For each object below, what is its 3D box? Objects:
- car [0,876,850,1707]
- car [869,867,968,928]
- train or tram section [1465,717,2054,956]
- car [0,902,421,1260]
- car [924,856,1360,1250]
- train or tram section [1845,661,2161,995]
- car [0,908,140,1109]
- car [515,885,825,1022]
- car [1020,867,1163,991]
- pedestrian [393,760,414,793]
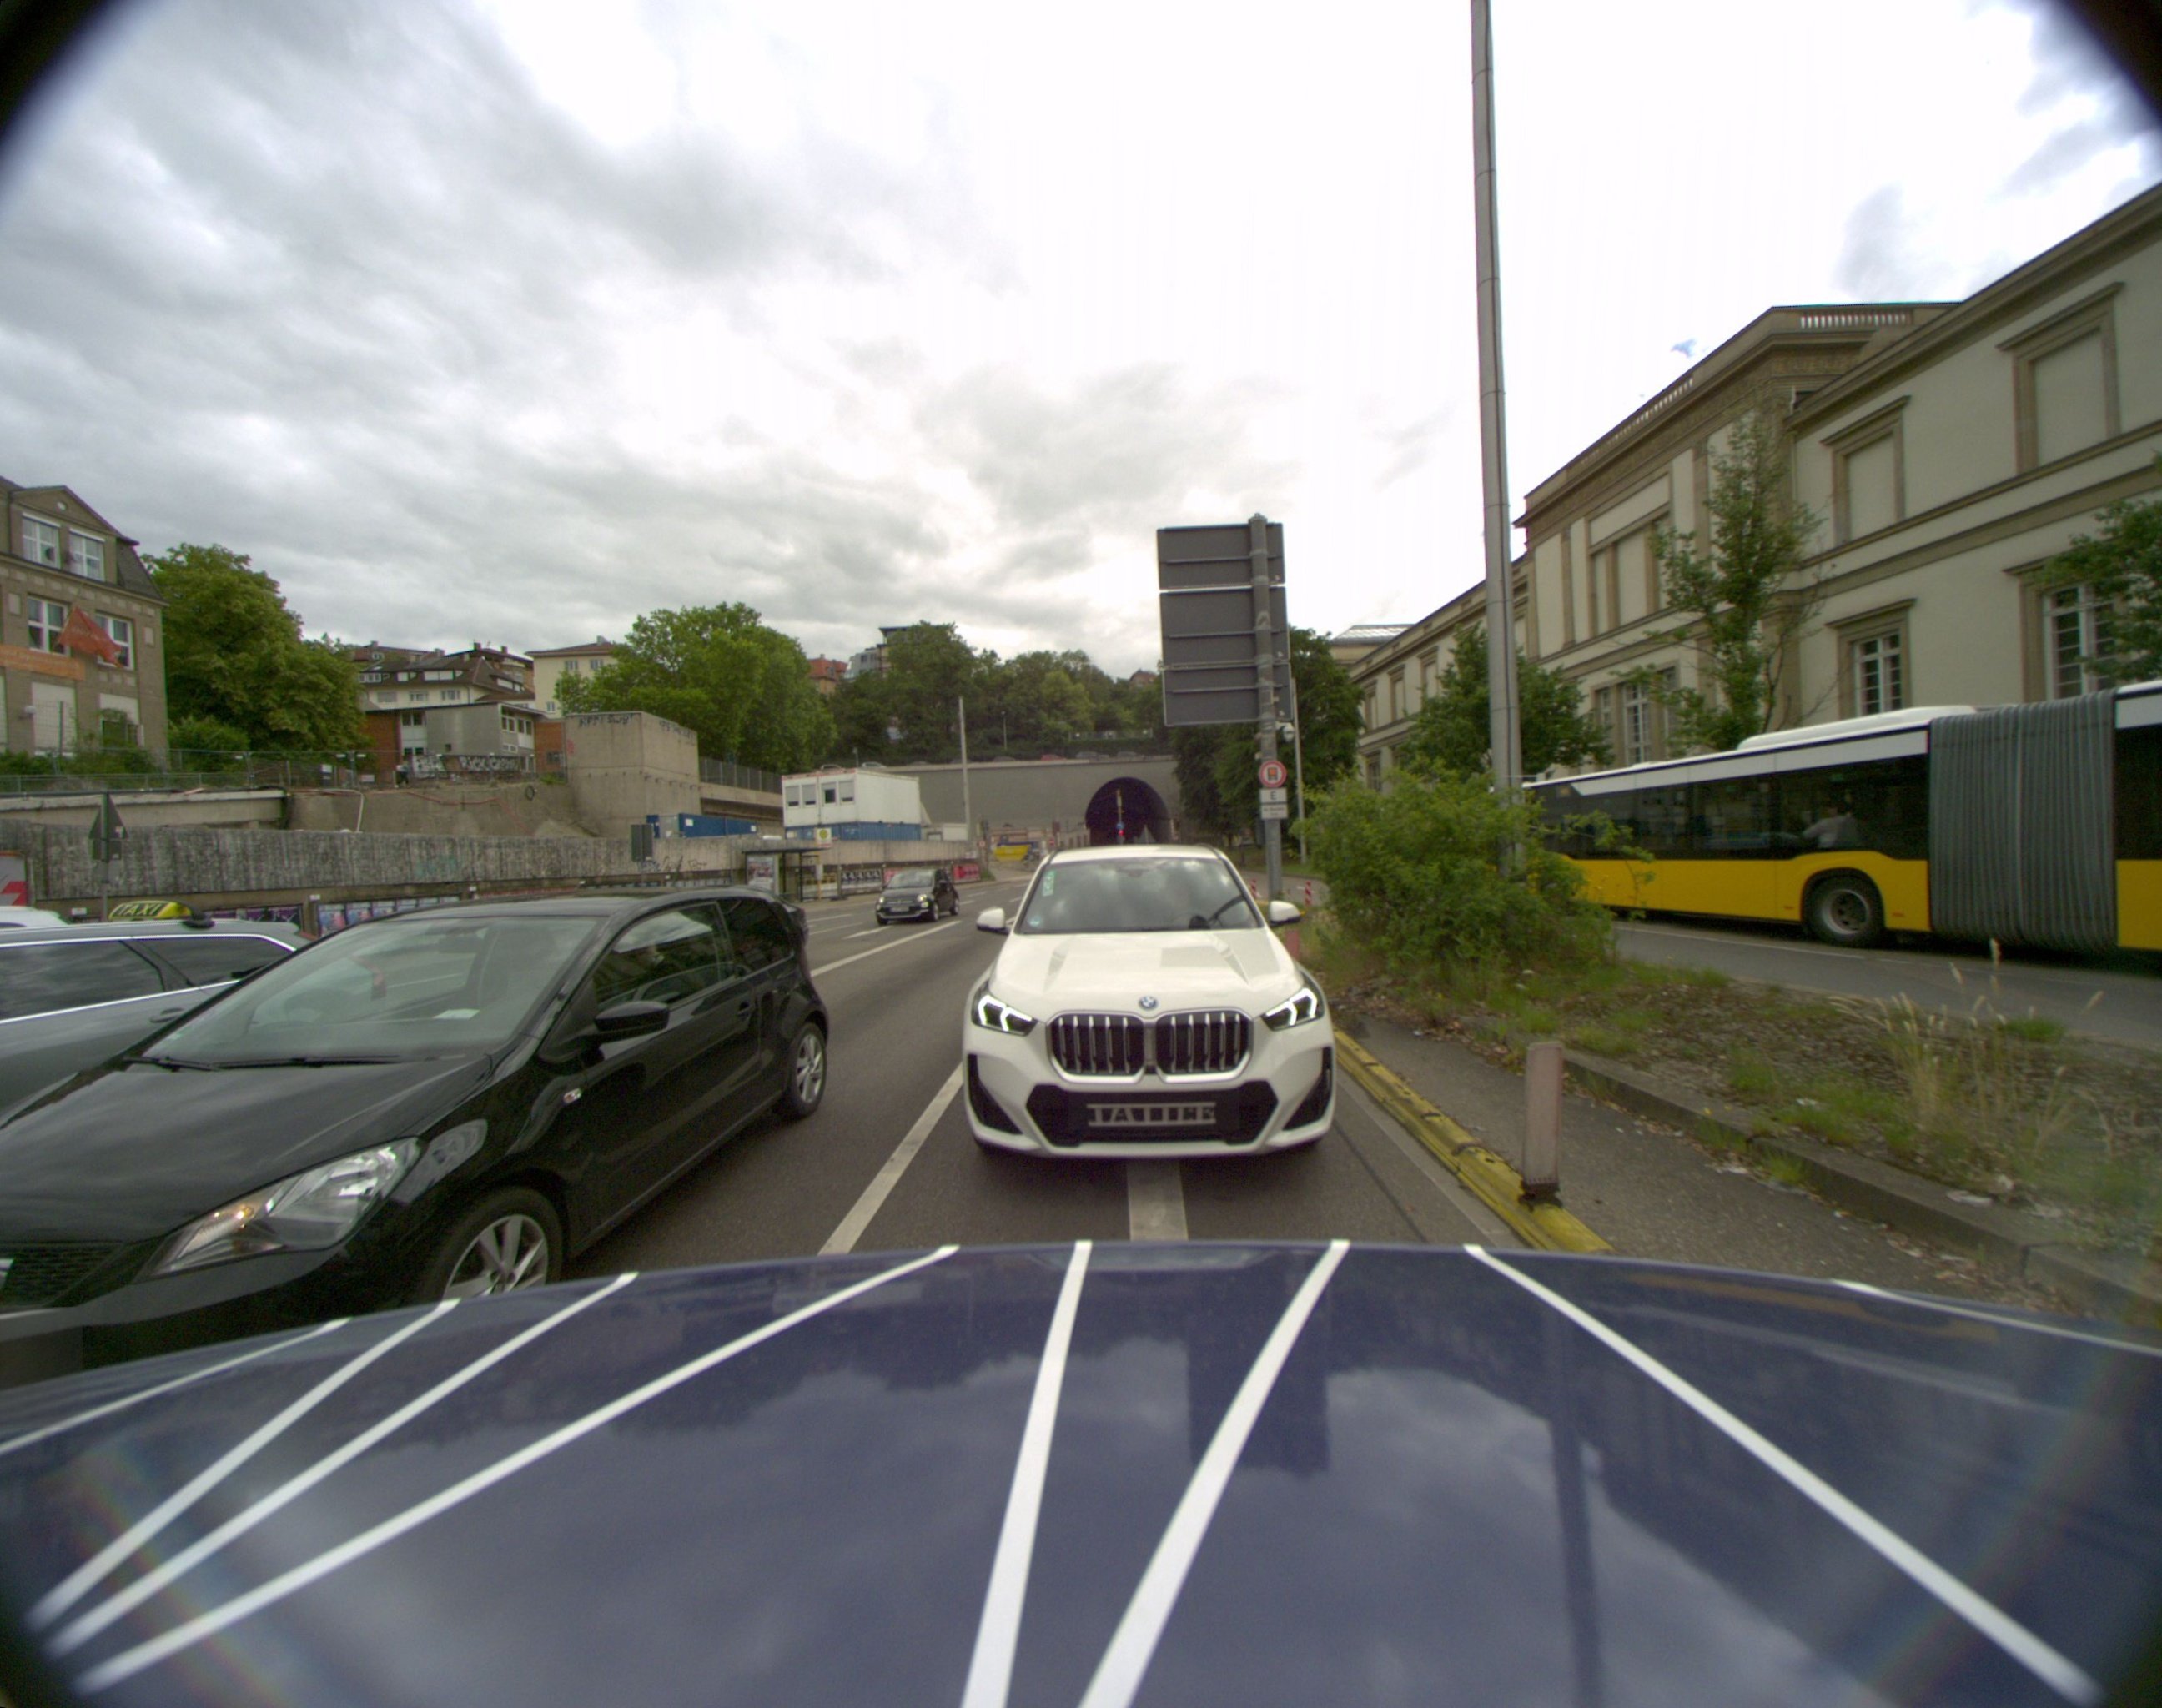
[{"bbox_3d":[-2.532,0.976,3.273,1.661,1.547,3.911,-2,1,3],"label":"car"},{"bbox_3d":[-4.560,1.191,21.867,1.720,1.450,3.782,-3,0,4],"label":"car"},{"bbox_3d":[11.151,-0.230,14.499,2.701,3.053,9.375,-1,0,-1],"label":"train or tram section"},{"bbox_3d":[-5.827,1.141,3.453,1.826,1.457,4.217,-2,1,2],"label":"car"},{"bbox_3d":[0.337,0.845,5.121,1.756,1.547,3.911,-2,1,3],"label":"car"},{"bbox_3d":[11.243,-0.256,5.174,2.700,3.053,9.336,-1,0,0],"label":"train or tram section"},{"bbox_3d":[-9.153,1.256,4.577,1.826,1.457,4.073,-2,1,0],"label":"car"},{"bbox_3d":[-5.402,1.223,10.759,1.826,1.356,4.219,-2,0,4],"label":"car"},{"bbox_3d":[0.219,0.987,11.596,1.756,1.427,3.911,-2,0,3],"label":"car"},{"bbox_3d":[-37.385,-4.266,41.946,0.554,1.784,0.570,-2,1,11],"label":"pedestrian"}]
